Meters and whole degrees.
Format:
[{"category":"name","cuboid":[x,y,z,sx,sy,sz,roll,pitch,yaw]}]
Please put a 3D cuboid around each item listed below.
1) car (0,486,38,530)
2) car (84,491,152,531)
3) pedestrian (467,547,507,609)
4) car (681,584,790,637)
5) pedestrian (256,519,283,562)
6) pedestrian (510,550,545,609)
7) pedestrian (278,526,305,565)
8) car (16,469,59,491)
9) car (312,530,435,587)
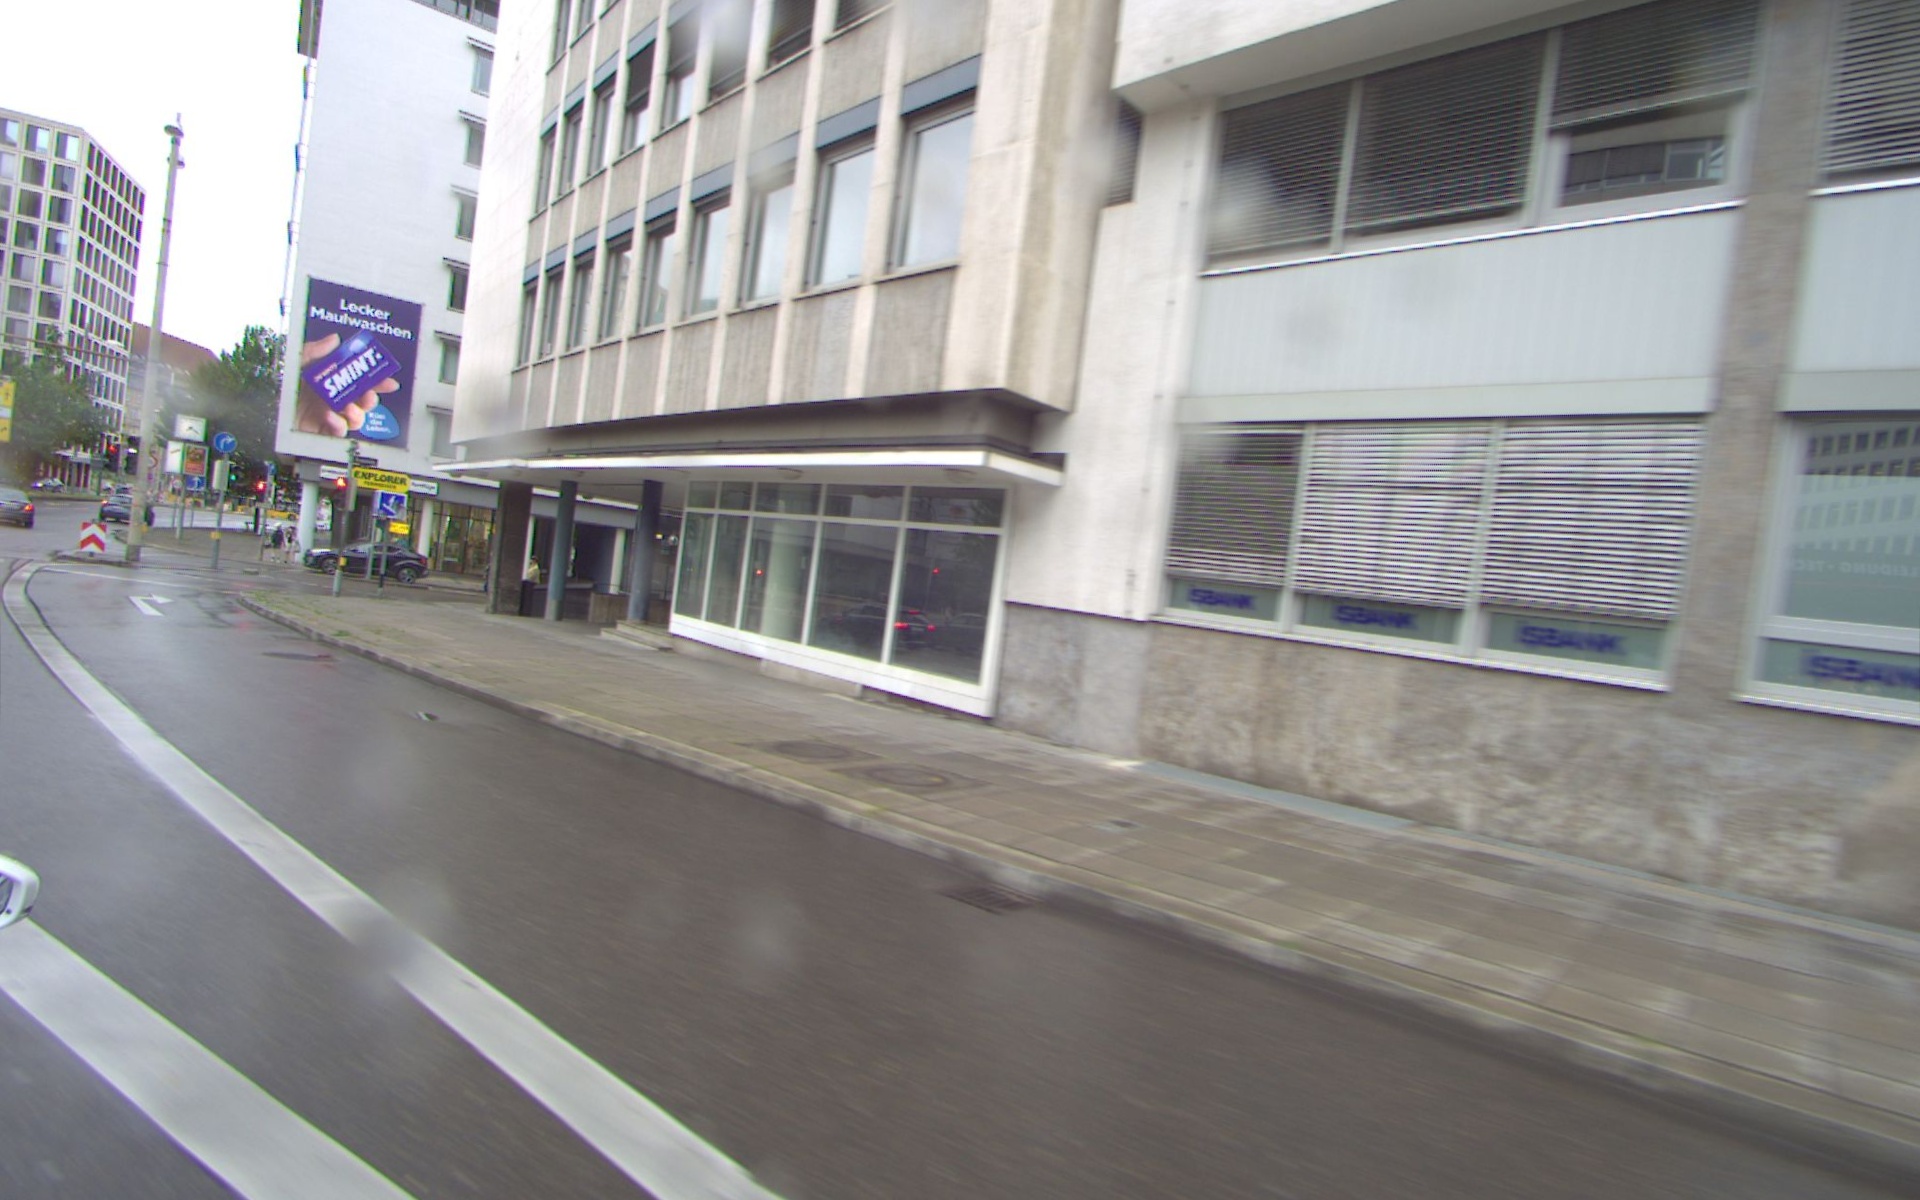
[{"category":"car","cuboid":[-39.556,-3.913,41.404,4.296,1.527,1.908,7,-2,42]},{"category":"car","cuboid":[-47.648,-4.997,57.022,2.032,1.786,4.323,9,-1,-30]},{"category":"pedestrian","cuboid":[-15.046,-0.699,31.996,0.809,1.820,0.703,7,1,-39]},{"category":"car","cuboid":[-9.901,0.491,44.760,1.967,1.770,4.523,8,-1,32]},{"category":"pedestrian","cuboid":[-28.422,-2.449,41.386,0.724,1.688,0.683,7,0,-39]},{"category":"pedestrian","cuboid":[-14.301,-0.677,33.256,0.724,1.820,0.731,7,1,-39]},{"category":"pedestrian","cuboid":[-27.786,-2.269,41.788,0.724,1.542,0.752,7,0,-39]},{"category":"car","cuboid":[-93.706,-12.162,102.225,1.977,1.727,3.972,8,0,-26]},{"category":"car","cuboid":[-23.525,-1.652,40.377,3.968,1.570,1.980,10,-2,-36]}]
